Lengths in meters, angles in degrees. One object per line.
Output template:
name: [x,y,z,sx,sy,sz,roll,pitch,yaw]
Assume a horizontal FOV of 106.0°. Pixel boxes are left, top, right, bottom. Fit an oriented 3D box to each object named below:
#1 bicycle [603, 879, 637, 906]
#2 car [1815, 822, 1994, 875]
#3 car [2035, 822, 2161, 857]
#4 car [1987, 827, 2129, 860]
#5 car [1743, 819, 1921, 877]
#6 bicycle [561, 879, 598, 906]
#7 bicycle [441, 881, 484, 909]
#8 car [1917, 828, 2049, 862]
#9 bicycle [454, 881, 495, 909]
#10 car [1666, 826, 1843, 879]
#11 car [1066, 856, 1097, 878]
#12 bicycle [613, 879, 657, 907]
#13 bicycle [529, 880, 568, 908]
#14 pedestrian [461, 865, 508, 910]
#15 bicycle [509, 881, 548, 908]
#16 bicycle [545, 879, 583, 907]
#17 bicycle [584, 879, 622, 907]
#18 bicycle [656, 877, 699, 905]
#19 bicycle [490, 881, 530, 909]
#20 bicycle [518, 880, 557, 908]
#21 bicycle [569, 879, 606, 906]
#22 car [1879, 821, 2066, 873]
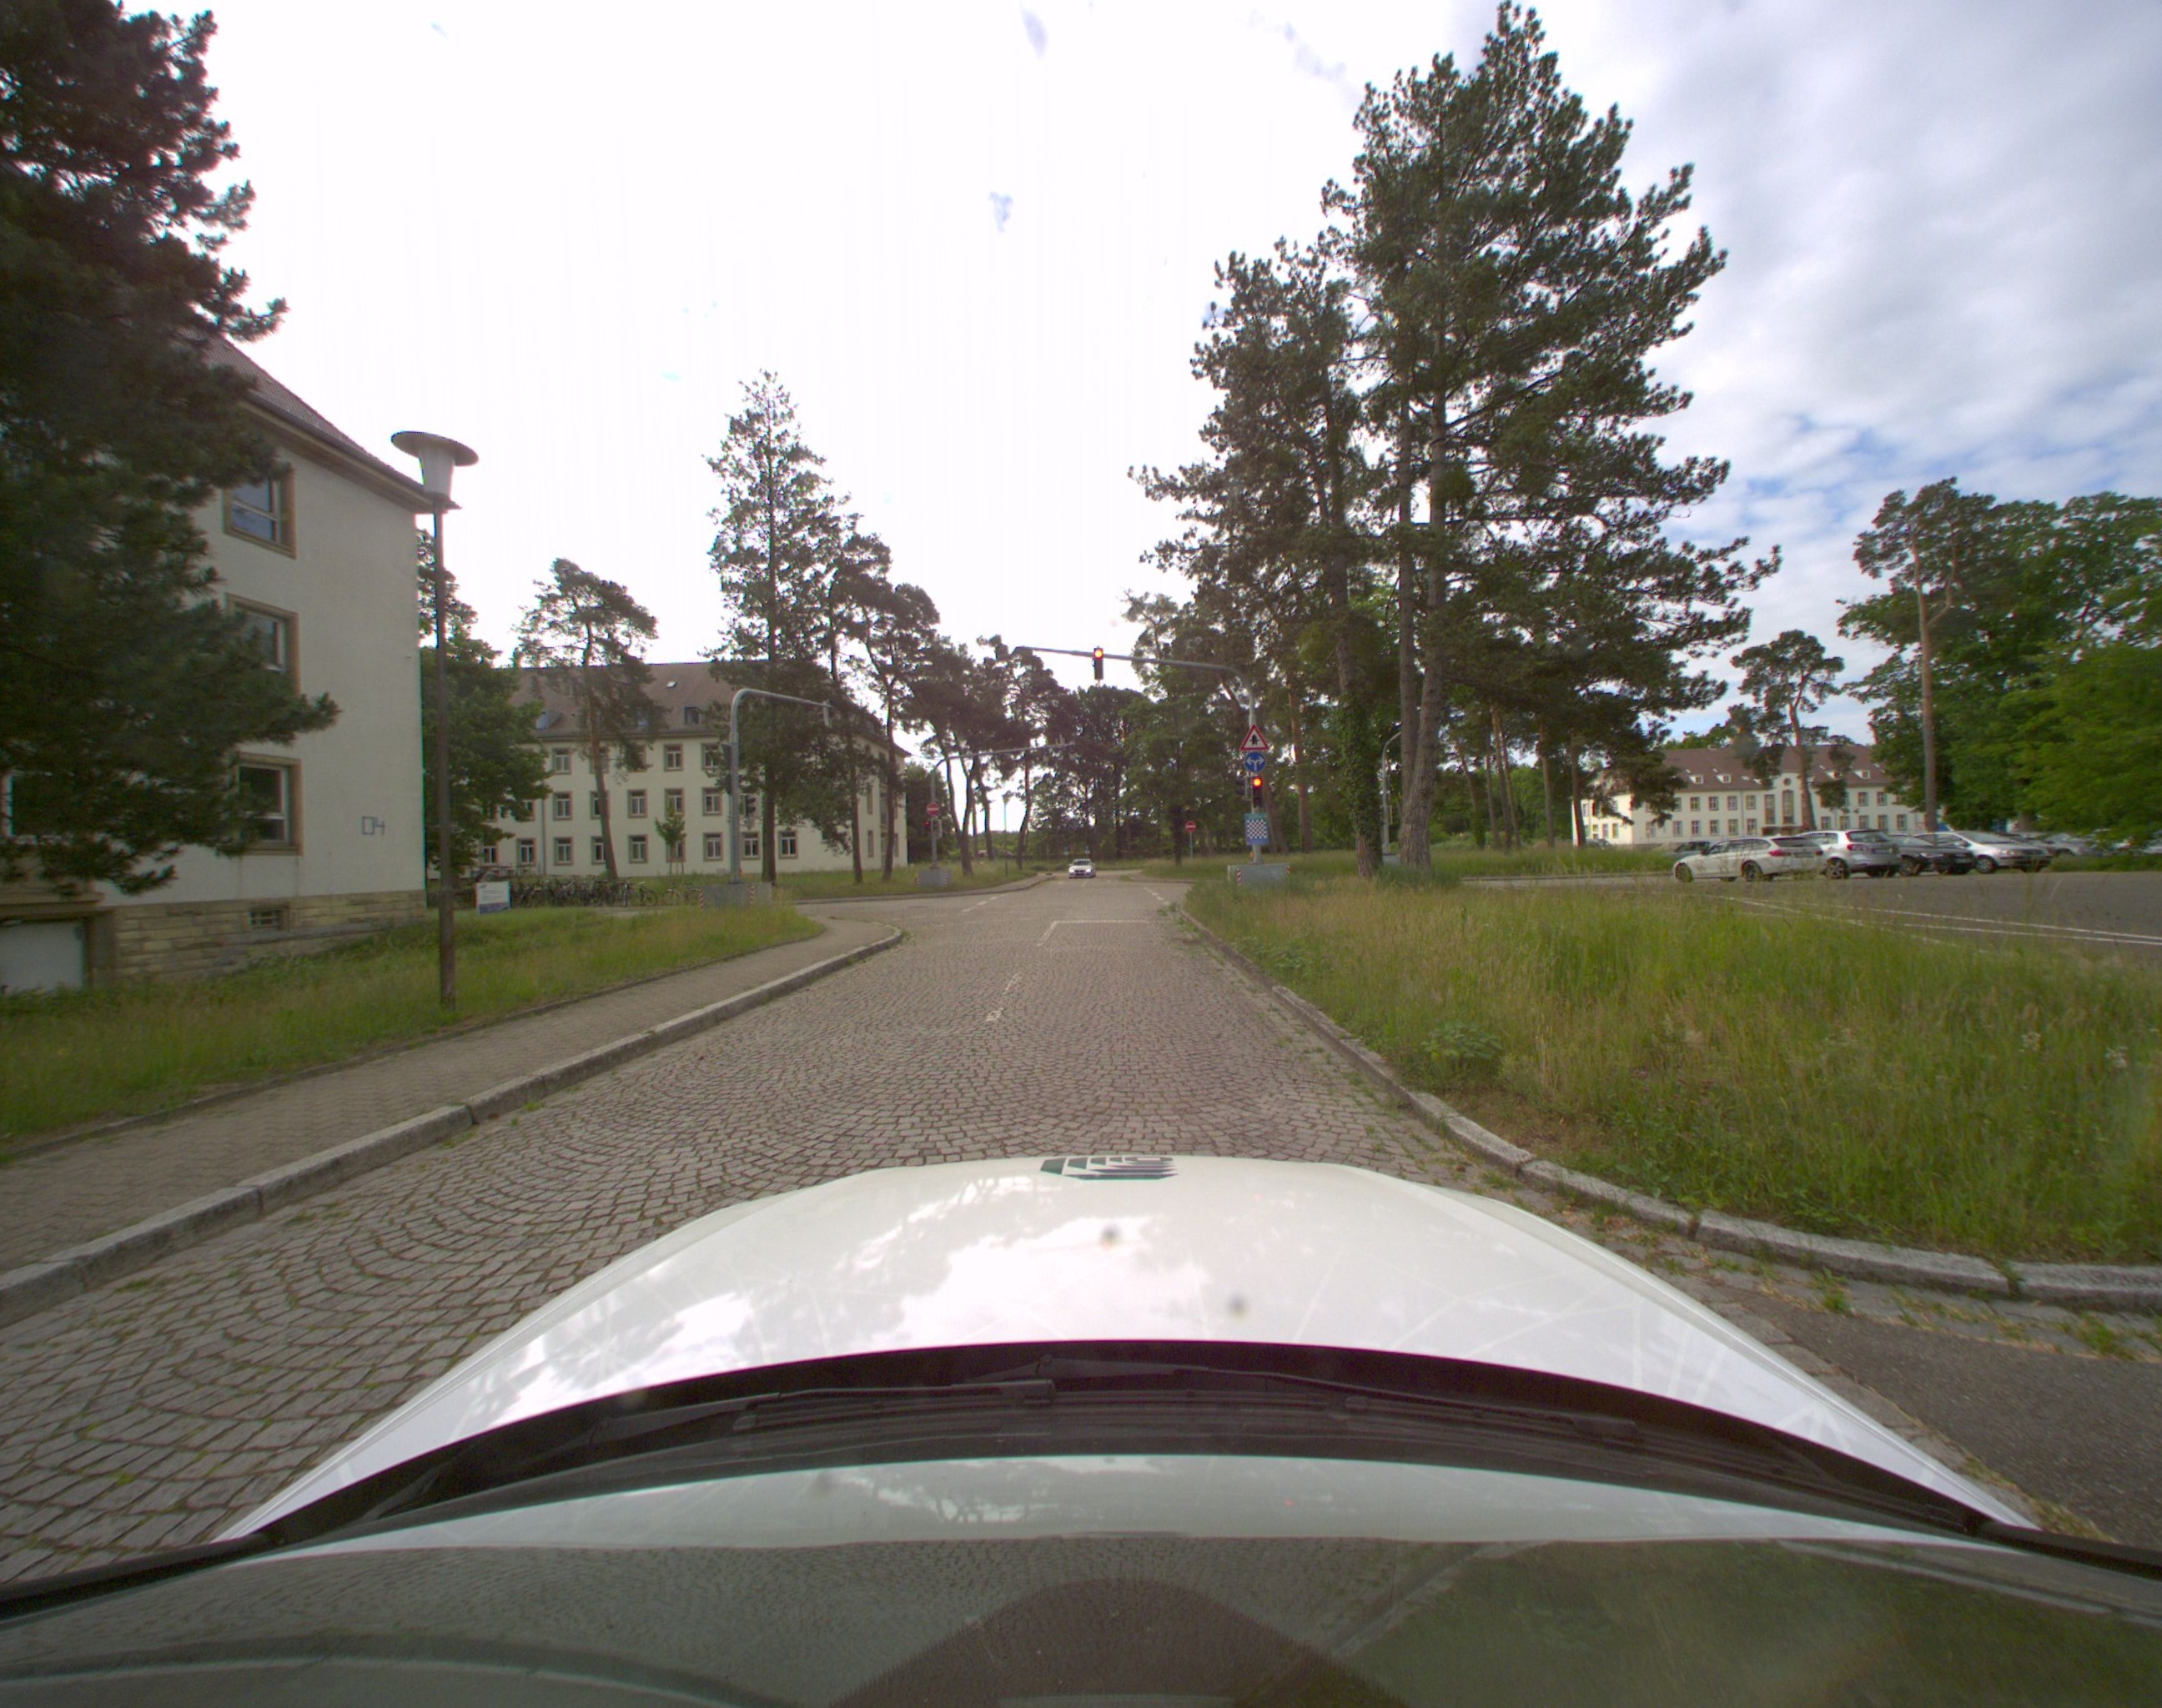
bicycle: [-19.461,1.614,34.420,0.513,1.079,1.584,-2,0,-1]
car: [26.962,-0.115,26.905,1.694,1.485,4.245,-2,-3,3]
car: [47.418,-0.660,37.796,1.608,1.501,4.252,-1,0,7]
car: [44.535,-0.451,37.291,1.725,1.390,4.252,-1,0,7]
car: [24.330,-0.121,26.632,1.777,1.605,4.240,-2,-3,-1]
bicycle: [-21.203,1.622,34.442,0.512,1.079,1.586,-2,0,2]
bicycle: [-26.117,1.732,34.418,0.512,1.079,1.586,-2,0,2]
car: [41.760,-0.412,37.862,1.725,1.472,4.252,-1,0,7]
bicycle: [-25.616,1.730,34.424,0.512,1.079,1.586,-2,0,2]
car: [21.693,0.019,26.543,1.843,1.487,4.606,-1,-3,-1]
car: [0.076,0.952,62.614,1.763,1.438,4.228,-5,0,8]
bicycle: [-18.074,1.570,33.027,1.460,1.079,0.516,-2,0,-1]
bicycle: [-22.456,1.660,34.383,0.512,1.079,1.586,-2,0,2]
pedestrian: [-24.710,1.381,33.732,1.050,1.788,1.165,-1,1,29]
bicycle: [-23.292,1.696,34.374,0.512,1.079,1.586,-2,0,2]
bicycle: [-21.834,1.635,34.399,0.512,1.079,1.586,-2,0,2]
bicycle: [-20.140,1.616,34.337,0.512,1.079,1.587,-2,0,4]
bicycle: [-16.437,1.488,33.182,1.460,1.065,0.516,-2,0,-1]
bicycle: [-24.088,1.717,34.380,0.512,1.079,1.586,-2,0,2]
bicycle: [-22.908,1.665,34.379,0.512,1.079,1.586,-2,0,2]
bicycle: [-20.842,1.620,34.435,0.512,1.079,1.586,-2,0,2]
car: [29.708,-0.177,27.363,1.694,1.485,4.245,-2,-3,3]
